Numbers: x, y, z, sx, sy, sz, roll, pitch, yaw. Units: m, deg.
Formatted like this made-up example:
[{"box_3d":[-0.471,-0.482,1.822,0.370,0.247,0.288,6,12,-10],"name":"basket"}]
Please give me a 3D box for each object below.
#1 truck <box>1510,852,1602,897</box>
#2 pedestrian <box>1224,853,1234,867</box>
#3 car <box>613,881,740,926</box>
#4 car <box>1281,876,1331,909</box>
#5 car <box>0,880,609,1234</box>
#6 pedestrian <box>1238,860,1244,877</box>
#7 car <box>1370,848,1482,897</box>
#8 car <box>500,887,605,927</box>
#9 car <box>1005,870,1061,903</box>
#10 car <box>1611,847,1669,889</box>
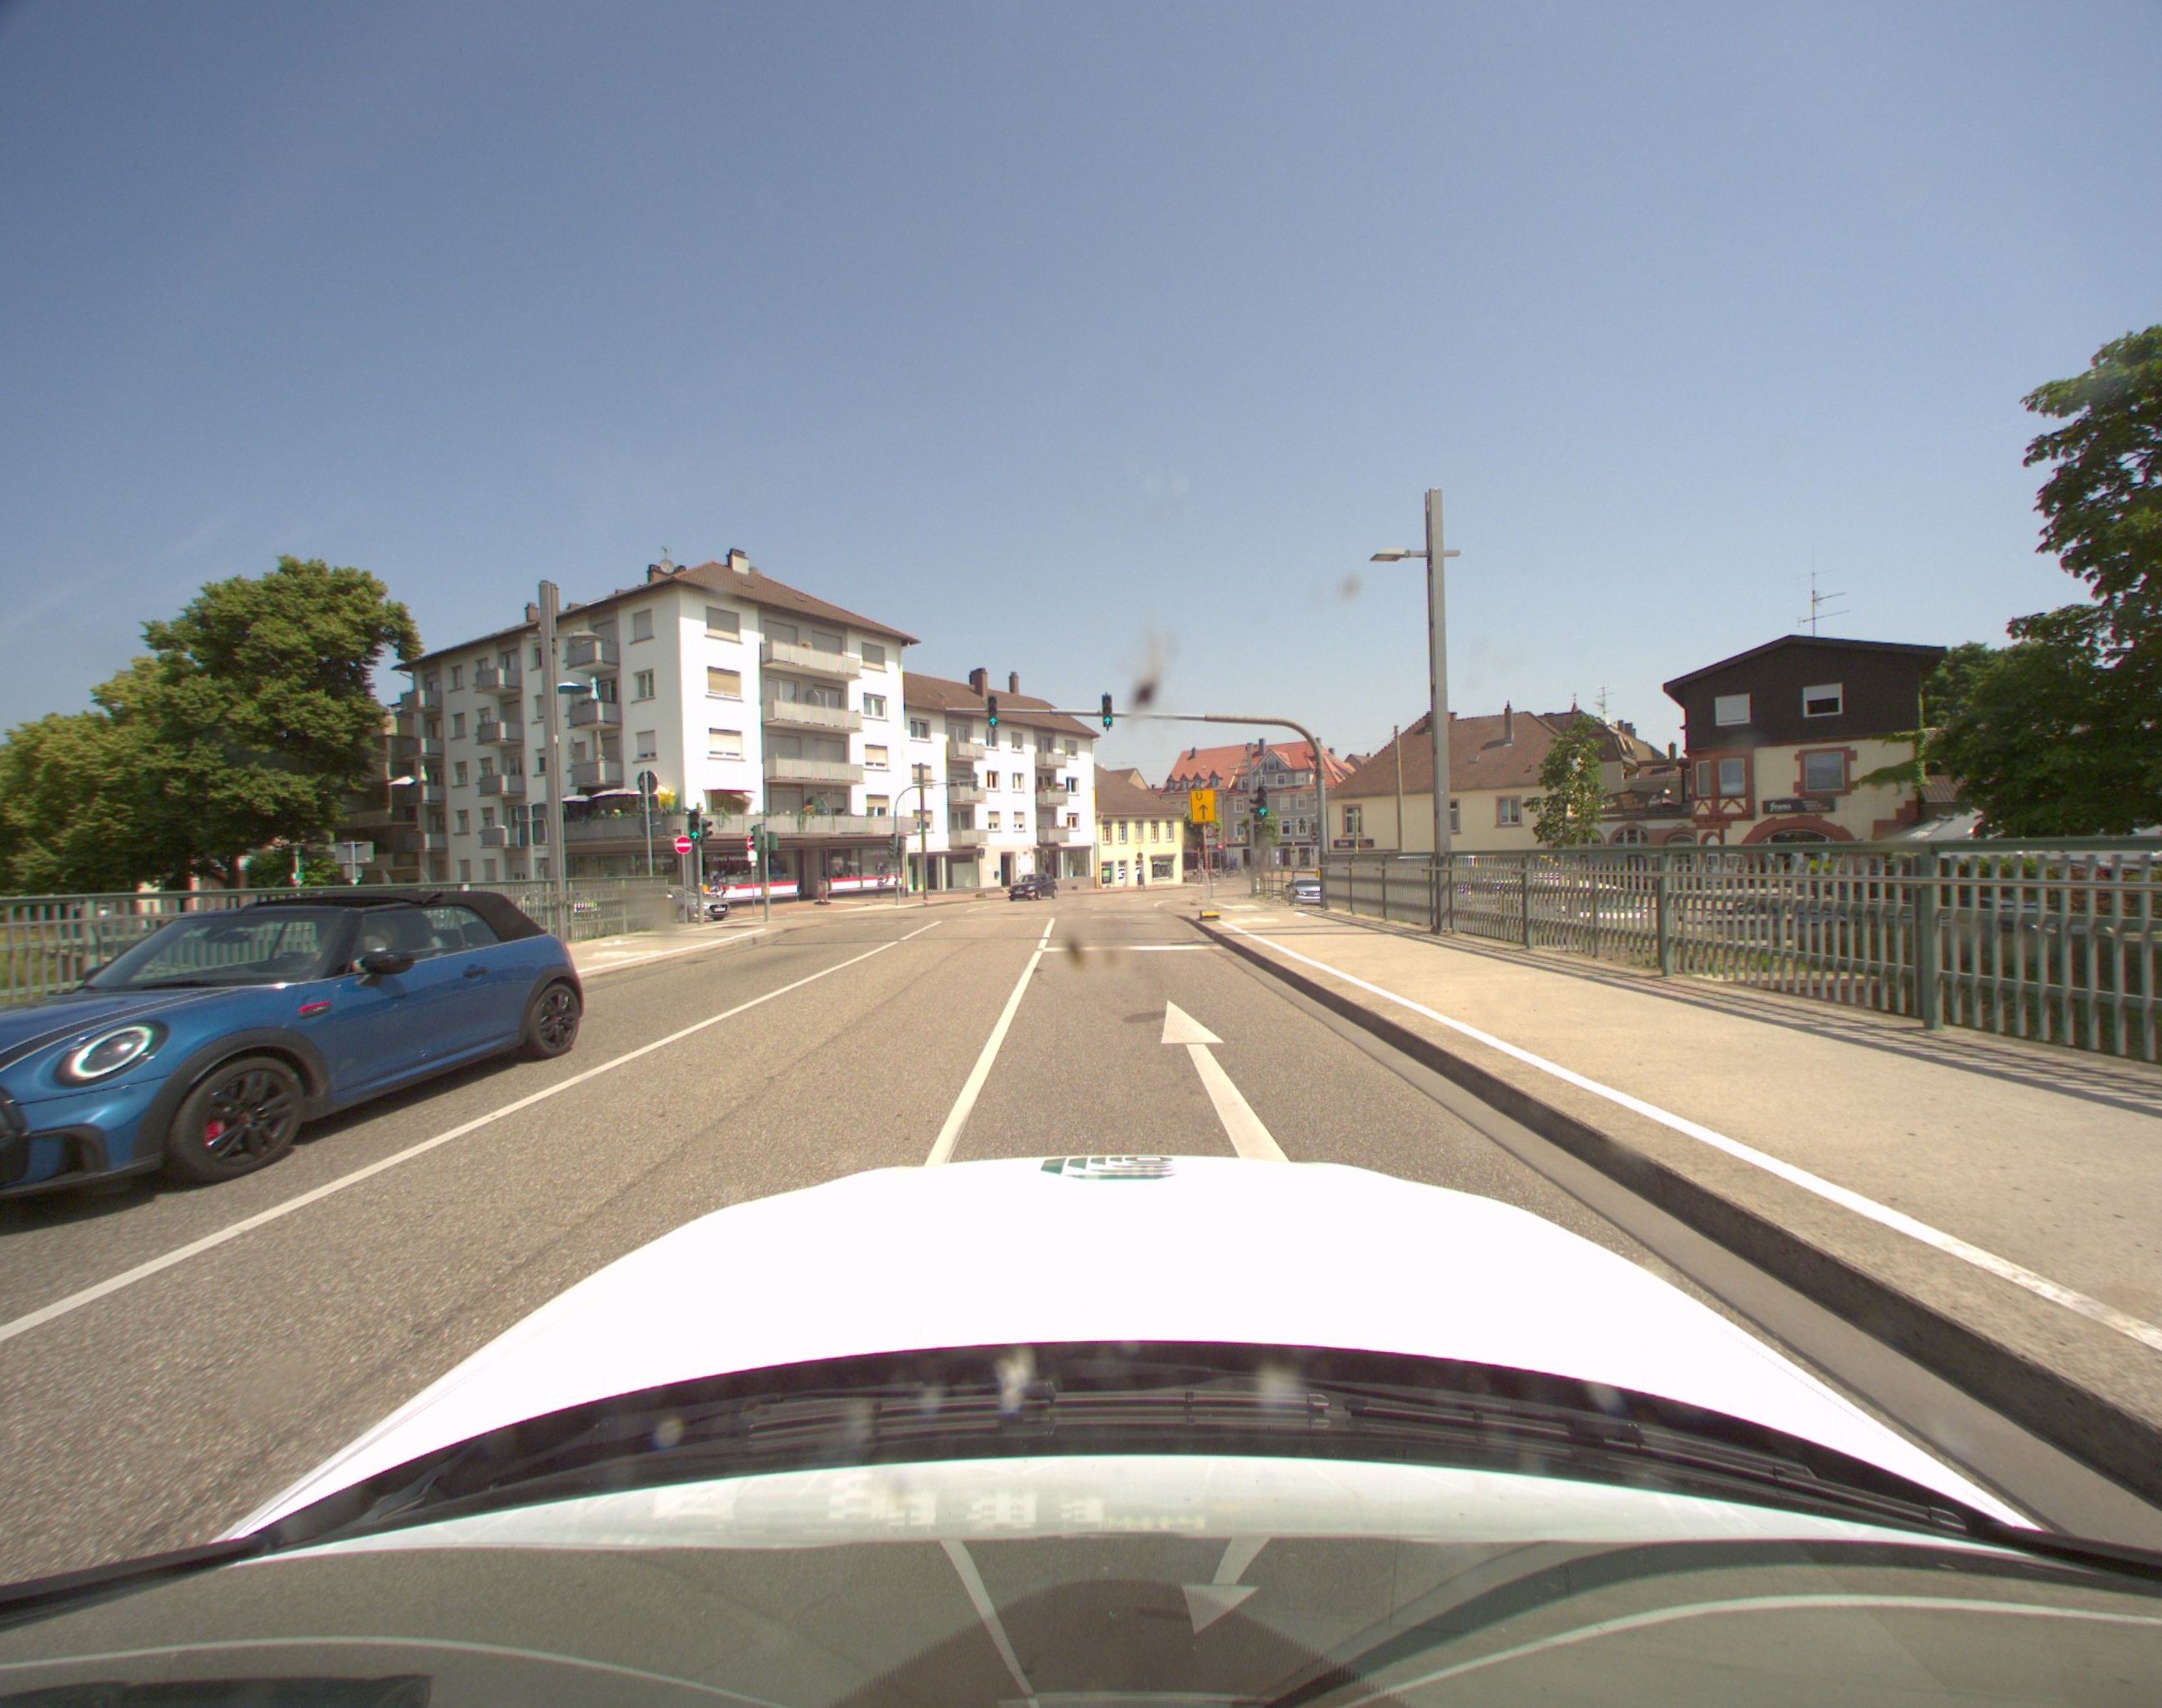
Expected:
[{"box_3d":[25.031,1.038,42.955,4.017,2.215,1.825,0,1,35],"name":"truck"},{"box_3d":[20.843,0.848,114.854,1.020,1.980,1.027,0,0,35],"name":"pedestrian"},{"box_3d":[-15.506,1.892,31.218,4.335,1.420,1.710,-3,0,18],"name":"car"},{"box_3d":[10.875,1.846,39.635,1.742,1.471,4.261,0,-1,7],"name":"car"},{"box_3d":[-5.103,0.975,5.432,1.651,1.440,3.755,-3,-1,0],"name":"car"},{"box_3d":[19.384,1.743,98.591,0.605,2.013,0.557,0,0,13],"name":"pedestrian"},{"box_3d":[19.820,1.053,46.884,5.560,2.628,2.256,-1,0,34],"name":"car"},{"box_3d":[-21.956,2.217,33.822,4.329,1.420,1.713,-3,0,28],"name":"car"},{"box_3d":[-2.500,1.682,43.053,1.664,1.488,3.971,-4,-1,16],"name":"car"},{"box_3d":[28.649,0.677,41.706,4.023,2.013,1.641,-1,1,-44],"name":"car"}]
